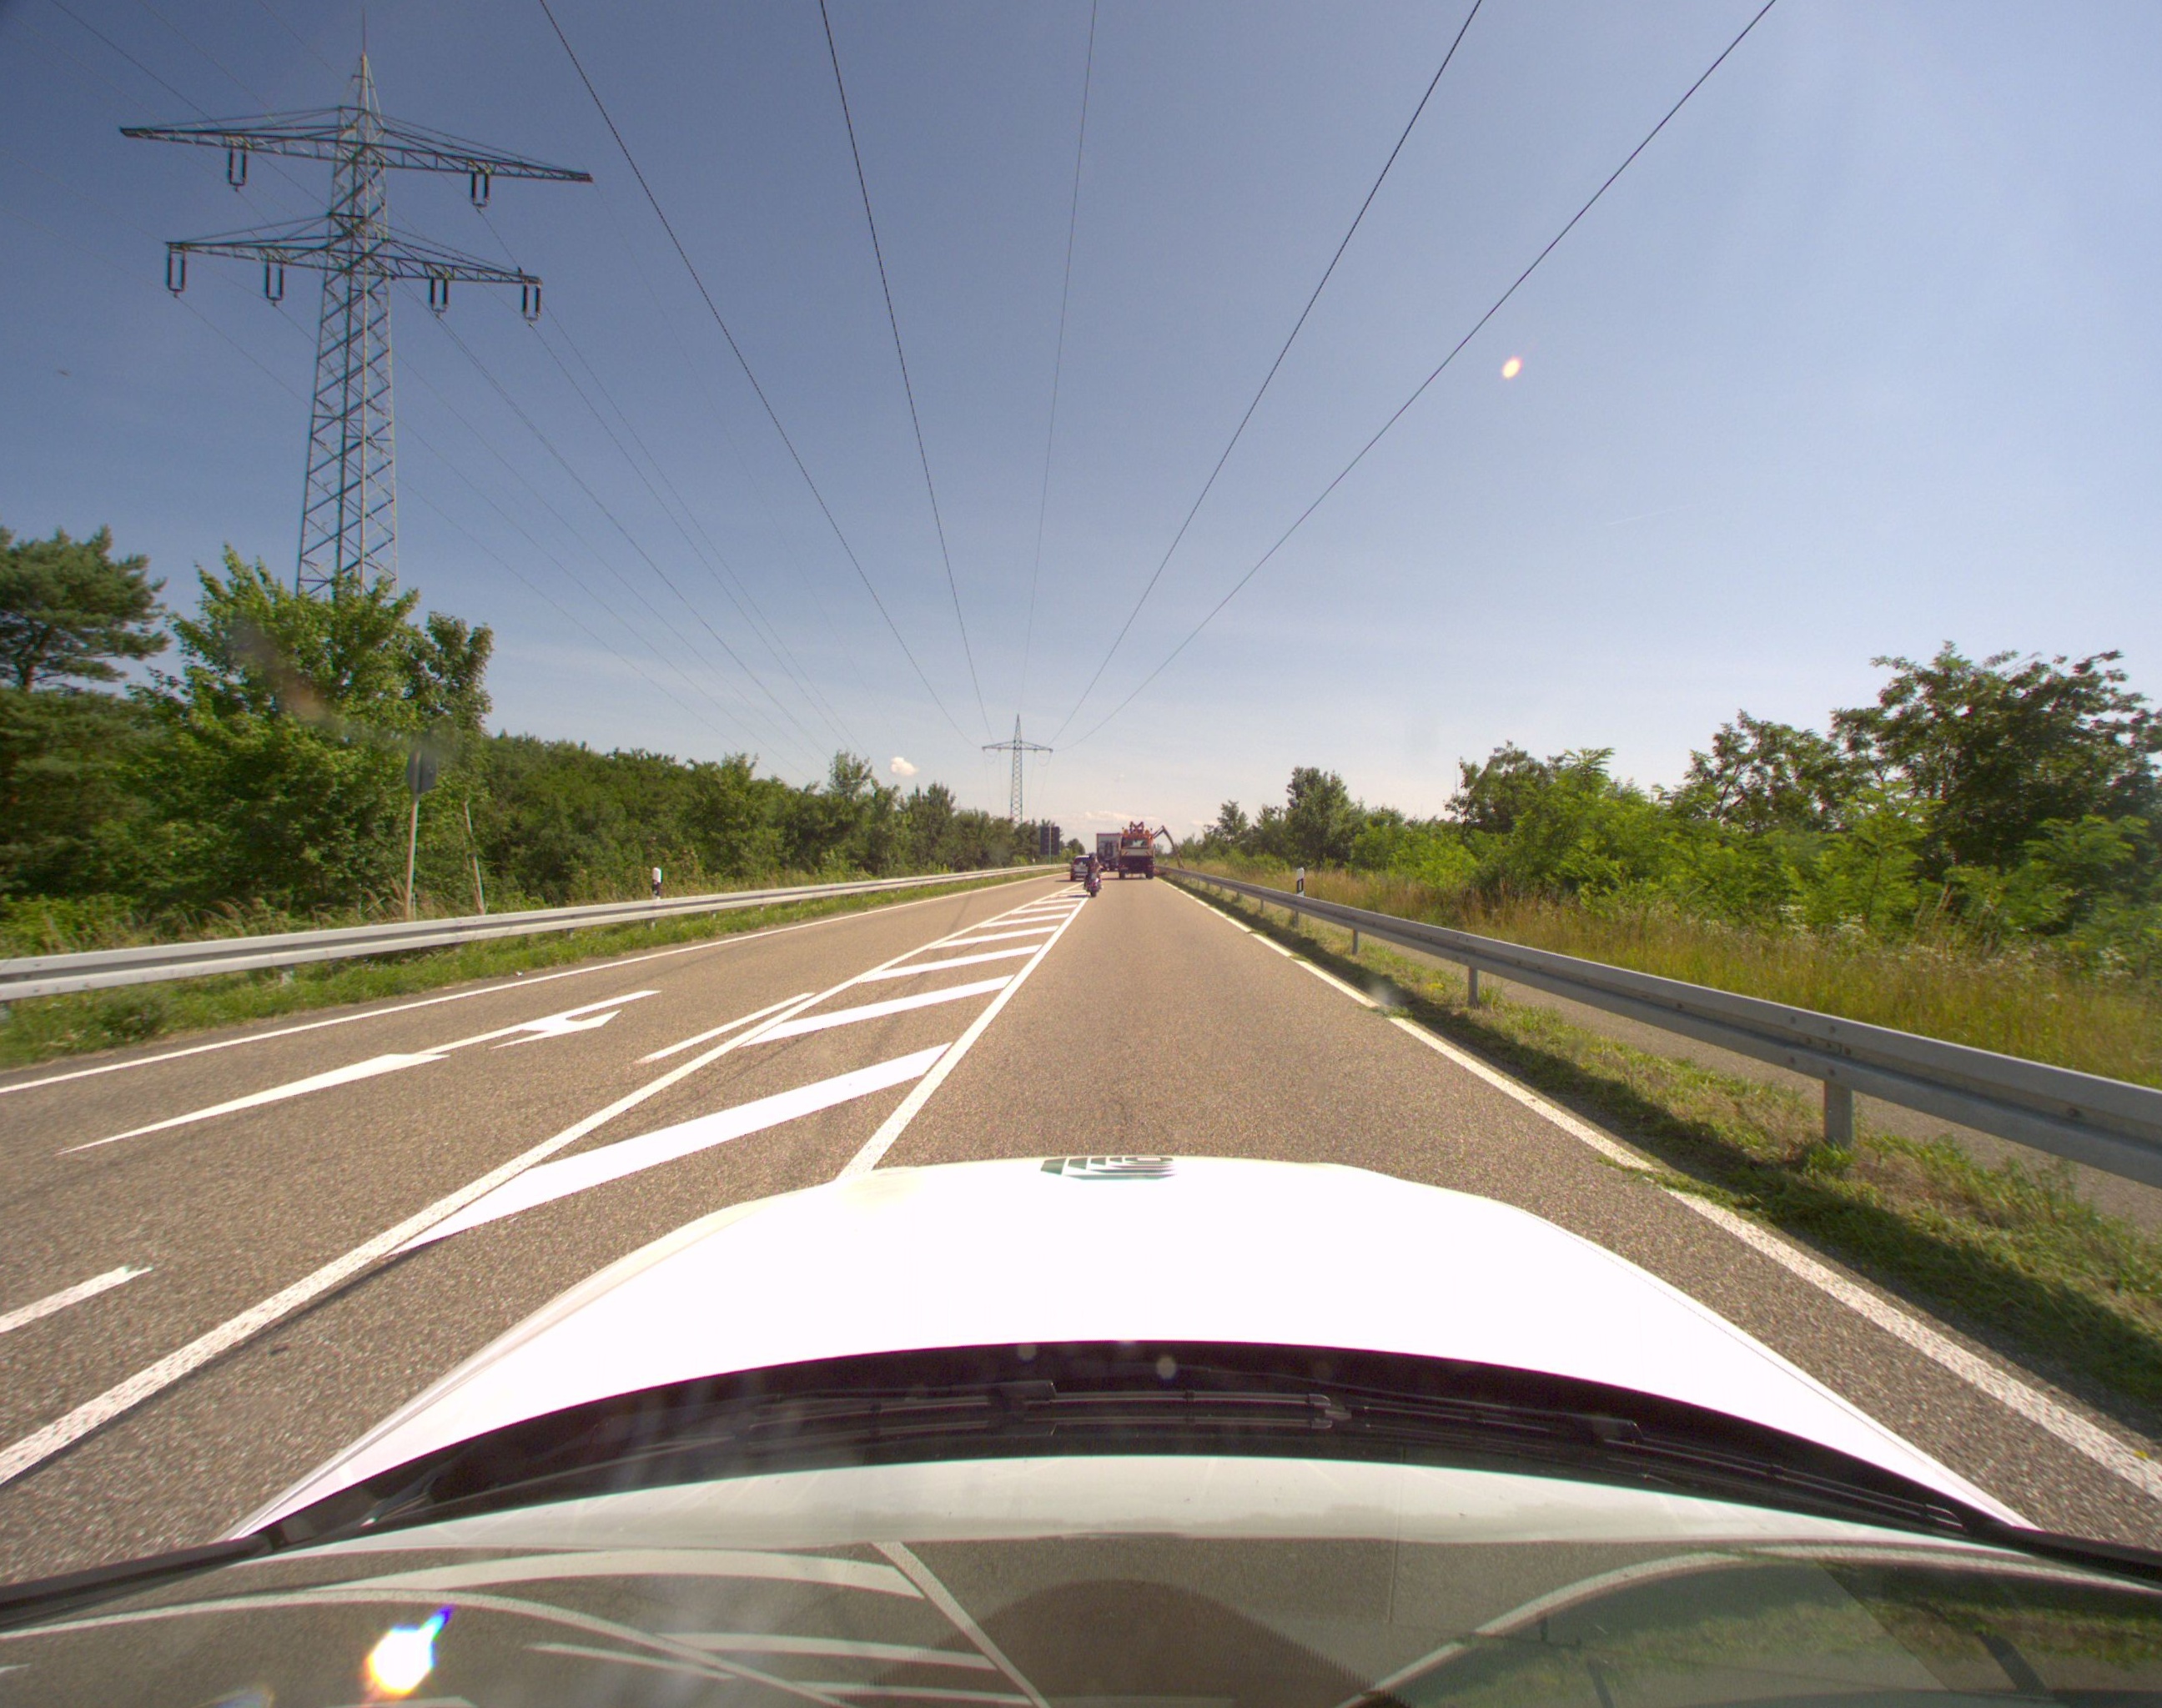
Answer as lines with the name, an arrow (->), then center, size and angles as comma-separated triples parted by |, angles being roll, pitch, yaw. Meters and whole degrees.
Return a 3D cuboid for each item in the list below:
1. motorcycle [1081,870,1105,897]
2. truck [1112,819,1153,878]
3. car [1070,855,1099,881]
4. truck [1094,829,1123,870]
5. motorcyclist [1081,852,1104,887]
motorcycle -> 0.451, 1.057, 30.178 | 0.855, 0.915, 2.228 | 0, 0, 1
truck -> 3.493, -0.339, 55.068 | 2.603, 3.711, 6.783 | 0, 0, 3
car -> 0.219, 0.807, 49.754 | 1.695, 1.536, 3.499 | 0, 0, 0
truck -> 3.237, -0.462, 92.077 | 2.955, 4.187, 14.835 | 0, 0, 3
motorcyclist -> 0.446, 0.572, 30.283 | 0.834, 1.280, 0.919 | 0, 0, 1
